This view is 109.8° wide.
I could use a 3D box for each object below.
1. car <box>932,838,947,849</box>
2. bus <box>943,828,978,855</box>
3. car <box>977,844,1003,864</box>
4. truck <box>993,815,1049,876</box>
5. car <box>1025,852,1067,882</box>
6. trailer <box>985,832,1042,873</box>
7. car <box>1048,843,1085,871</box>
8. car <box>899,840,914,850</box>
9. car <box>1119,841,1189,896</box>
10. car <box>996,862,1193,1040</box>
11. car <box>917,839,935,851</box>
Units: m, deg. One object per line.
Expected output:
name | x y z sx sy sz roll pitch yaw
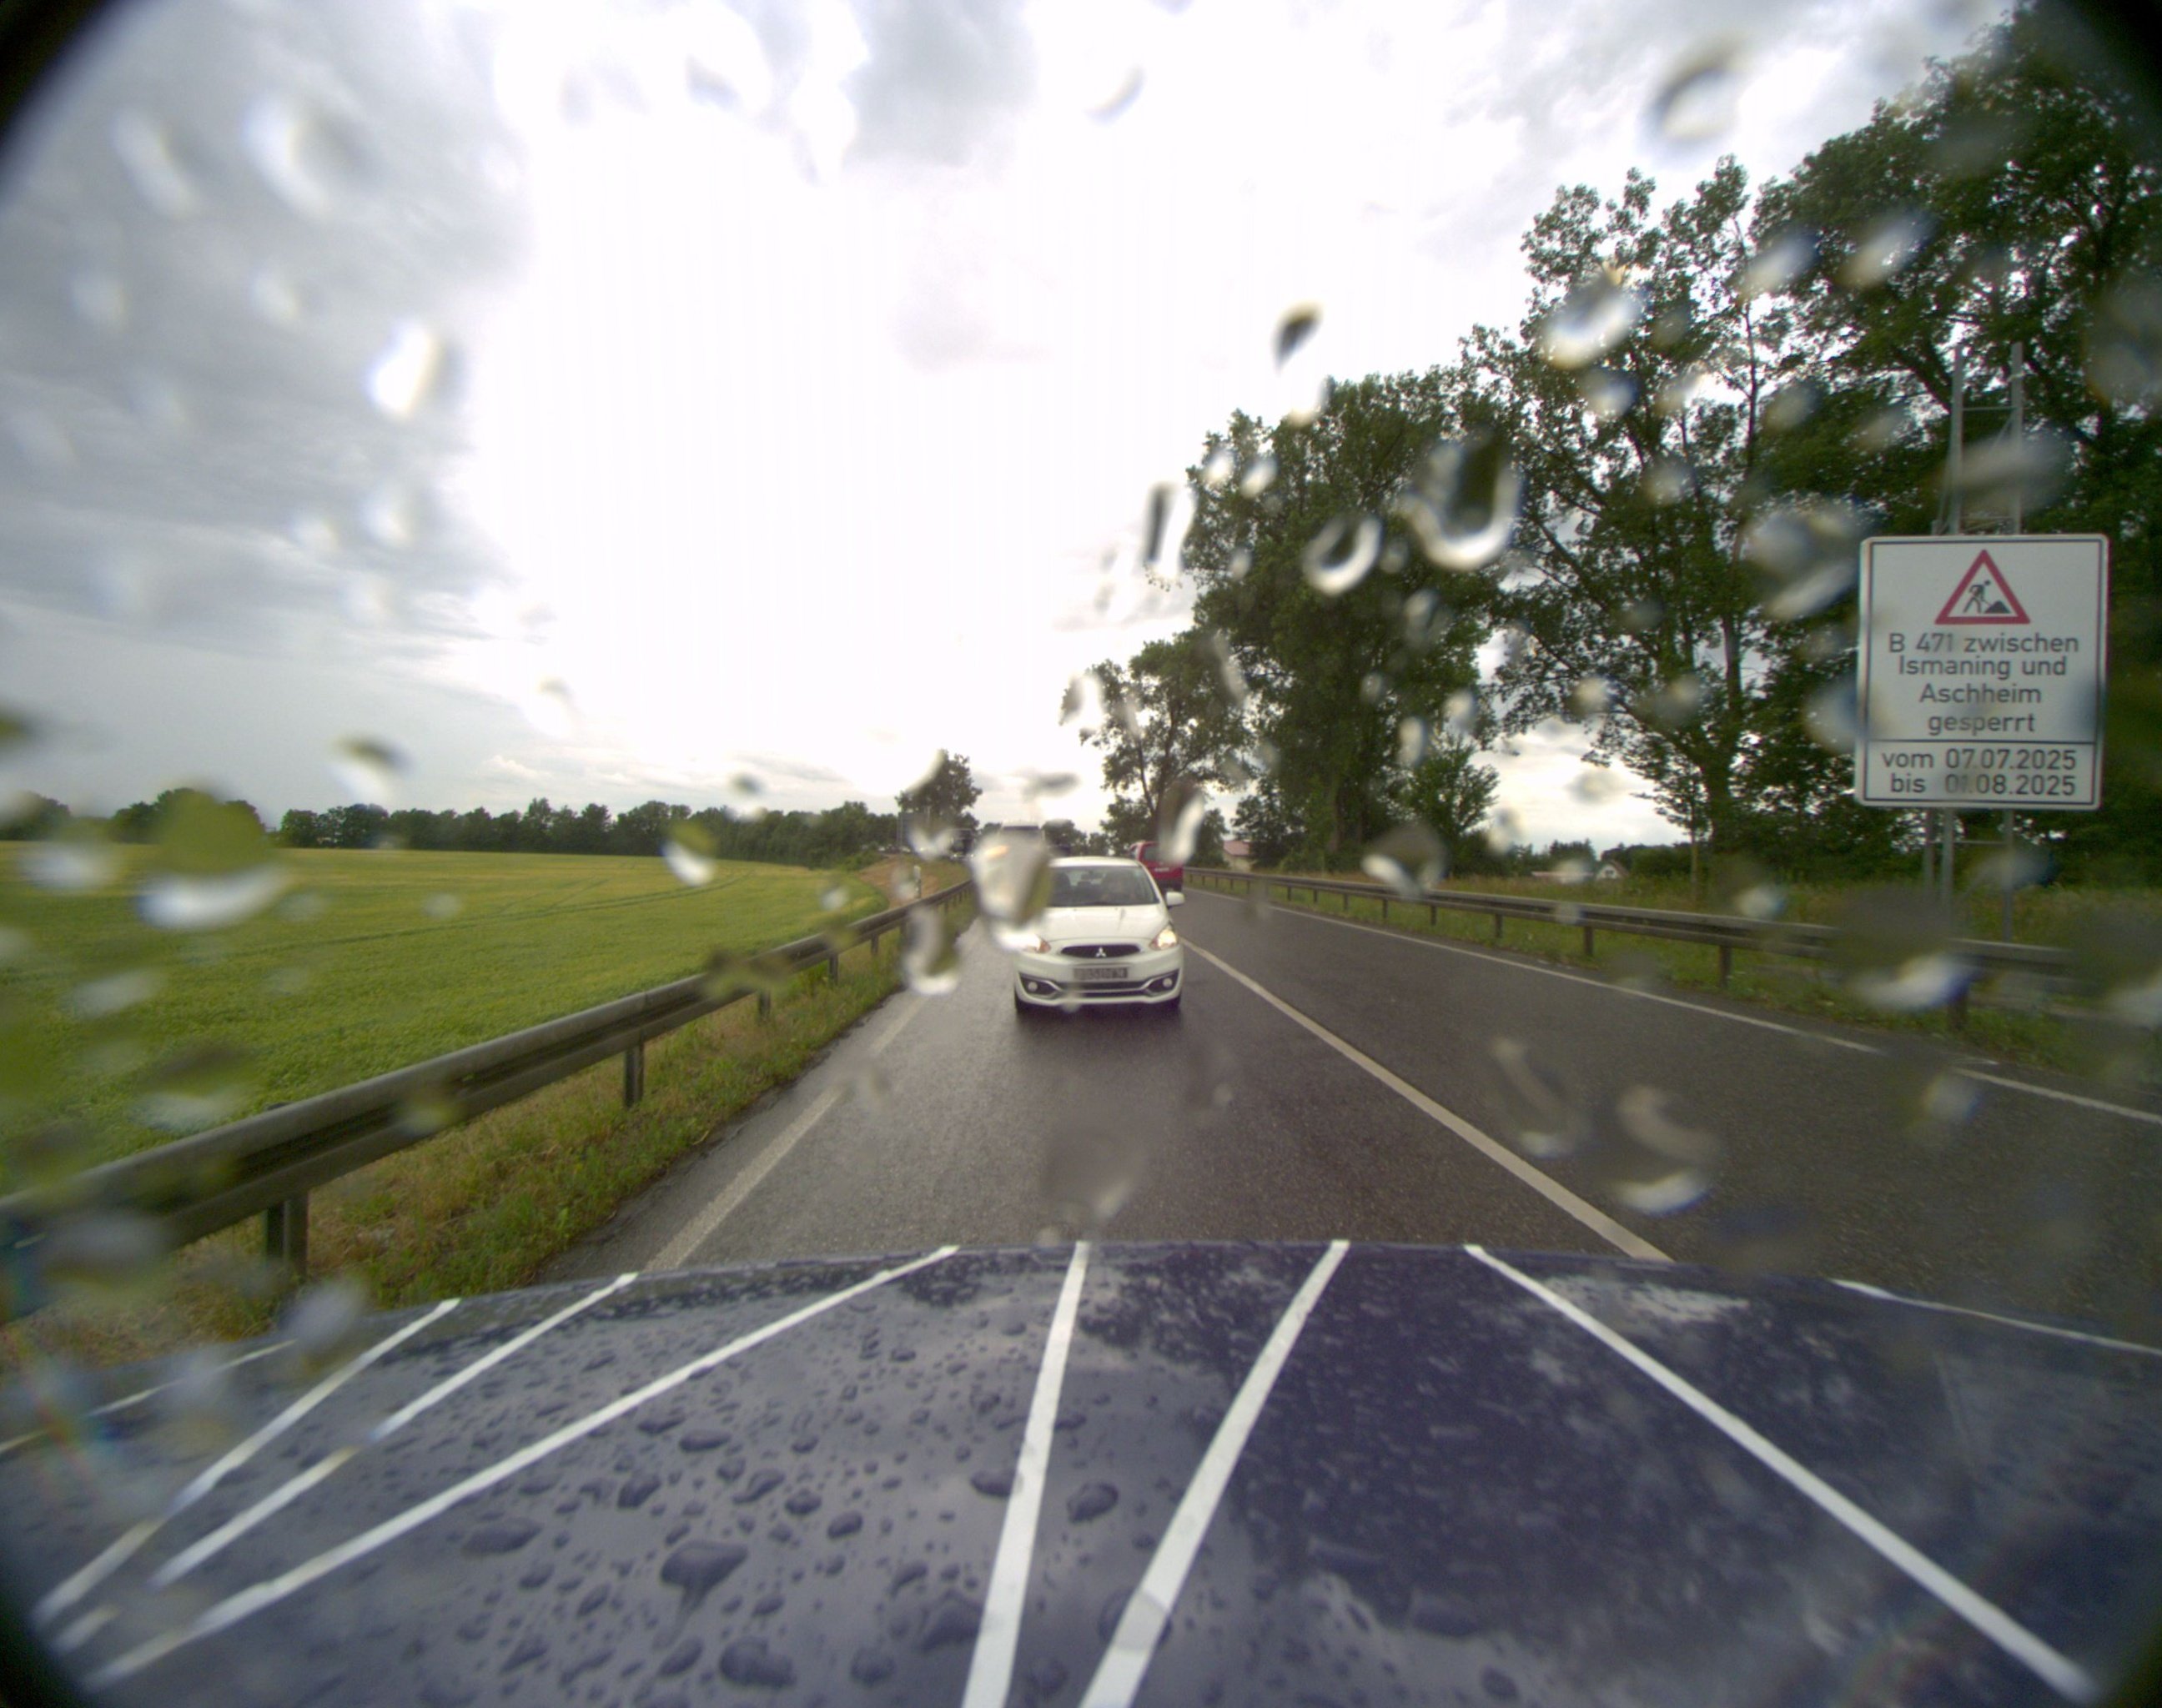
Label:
car | -22.360 -1.639 120.244 1.816 1.569 3.994 -2 1 -17
bus | -16.379 -1.744 102.597 2.967 3.294 14.814 -2 2 -15
car | -9.094 -0.006 75.727 2.044 1.832 5.329 -2 1 -13
truck | -4.003 -0.563 49.582 2.986 3.589 6.074 -2 1 -10
car | -1.870 0.631 39.058 1.782 1.380 4.325 -2 1 -7
trailer | -5.420 -0.182 58.045 2.986 2.618 15.666 -2 1 -10
car | -1.159 0.191 58.201 1.969 2.002 4.855 -2 1 -11
car | -35.623 -1.874 155.228 2.002 2.002 4.223 -3 1 -26
car | 2.615 0.455 28.348 1.806 1.840 4.517 -1 1 -5
car | 0.035 0.846 8.548 1.653 1.461 4.029 -2 0 -3
car | -27.604 -1.532 135.120 2.002 2.002 5.324 -2 1 -25
